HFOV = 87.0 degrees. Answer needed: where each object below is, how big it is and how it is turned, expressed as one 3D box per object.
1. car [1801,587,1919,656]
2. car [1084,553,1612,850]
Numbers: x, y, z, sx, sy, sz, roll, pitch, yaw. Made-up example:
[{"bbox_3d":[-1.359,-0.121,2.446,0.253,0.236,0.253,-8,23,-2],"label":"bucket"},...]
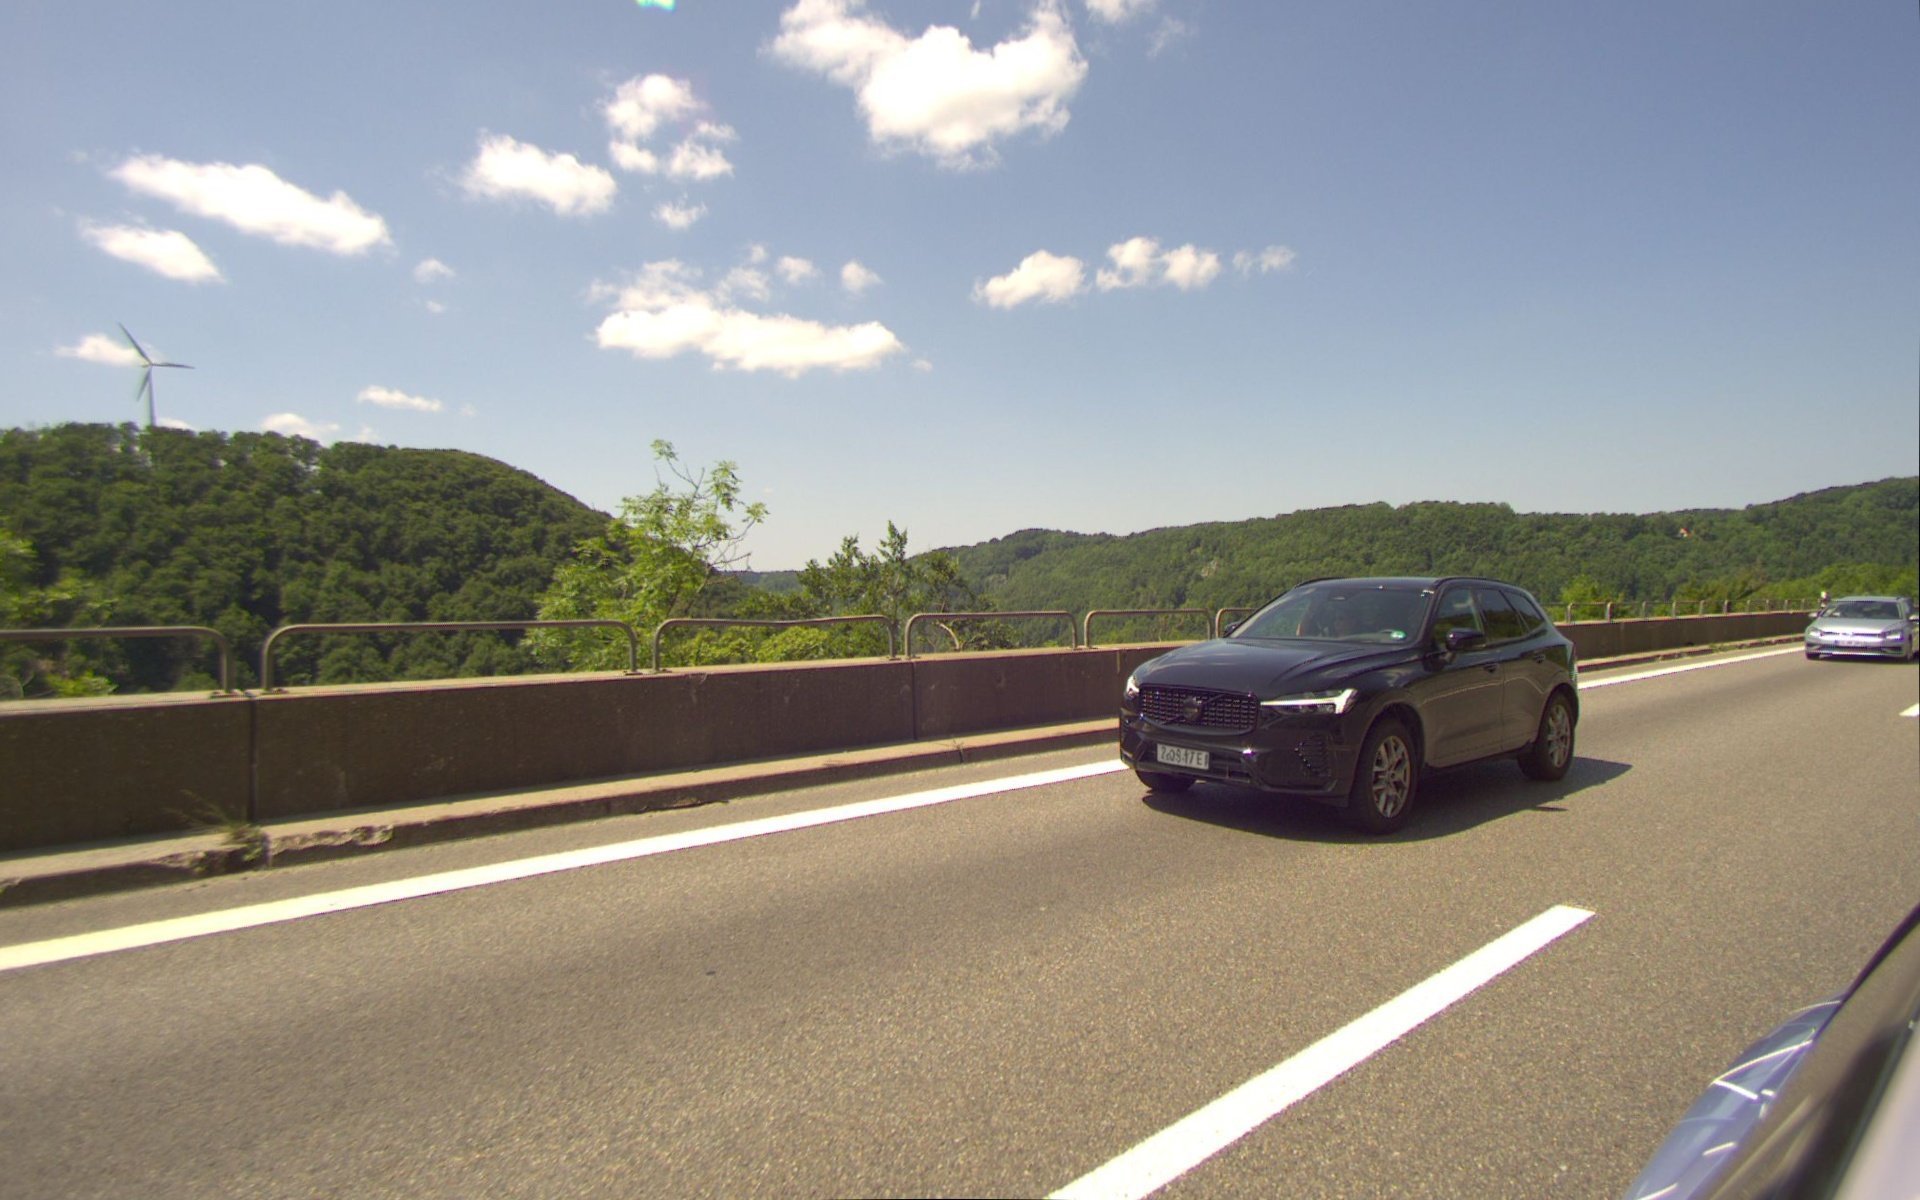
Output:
[{"bbox_3d":[21.092,0.415,23.252,4.217,1.395,1.972,-2,1,-39],"label":"car"},{"bbox_3d":[3.198,0.544,7.822,4.579,1.654,1.838,0,1,-40],"label":"car"}]
